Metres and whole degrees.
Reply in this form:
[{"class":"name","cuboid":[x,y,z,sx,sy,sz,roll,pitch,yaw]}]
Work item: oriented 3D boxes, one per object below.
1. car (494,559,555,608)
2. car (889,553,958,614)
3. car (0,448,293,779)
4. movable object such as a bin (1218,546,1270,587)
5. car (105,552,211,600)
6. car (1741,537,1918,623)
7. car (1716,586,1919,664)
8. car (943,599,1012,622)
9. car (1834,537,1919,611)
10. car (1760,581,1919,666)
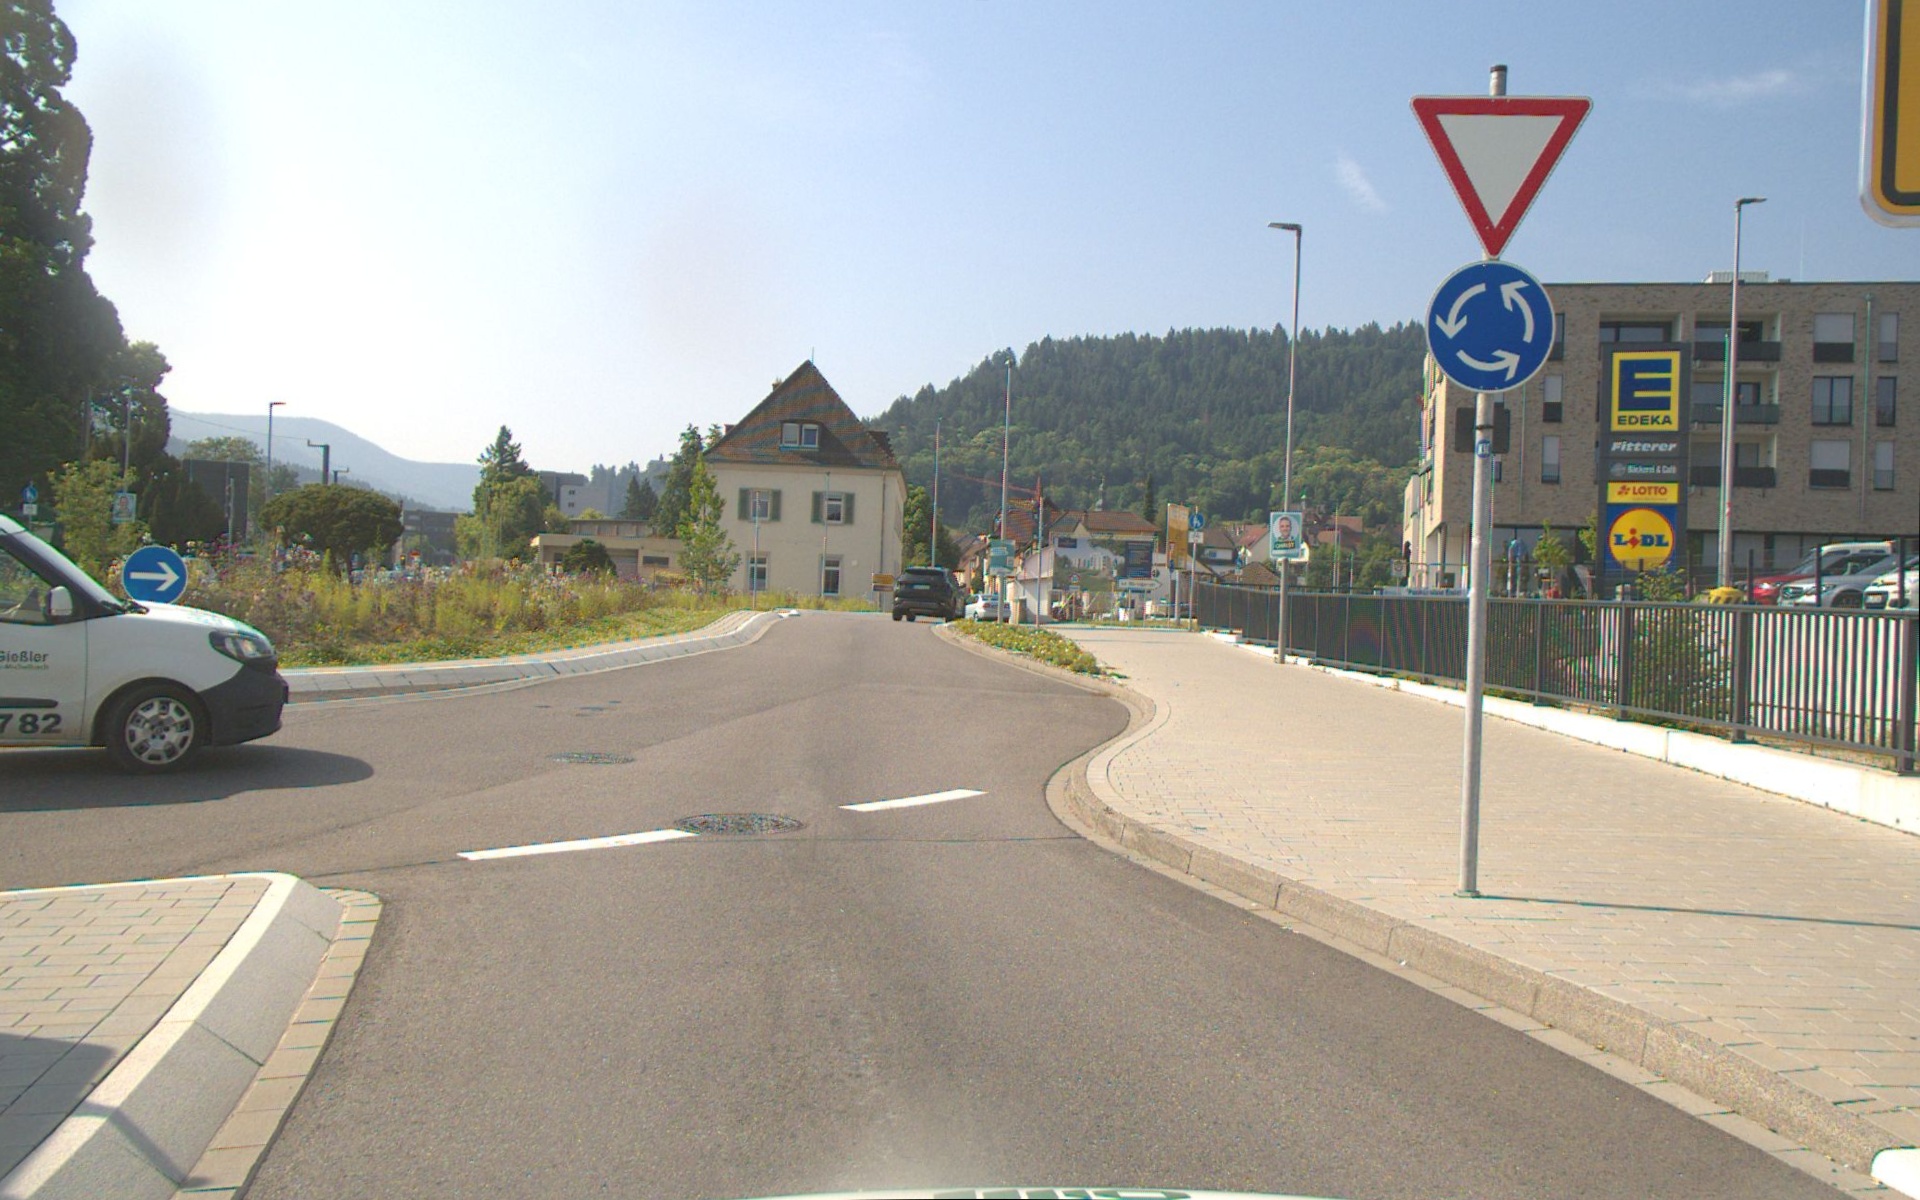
[{"class":"car","cuboid":[-18.955,-0.736,72.150,1.773,2.049,3.998,1,1,-3]},{"class":"car","cuboid":[-1.072,-0.469,50.320,1.842,1.713,4.001,1,-1,2]},{"class":"car","cuboid":[-6.999,0.023,11.117,4.533,2.113,1.797,1,3,-27]},{"class":"movable object such as a bin","cuboid":[13.685,-1.594,79.775,2.391,1.876,1.429,1,-1,8]},{"class":"car","cuboid":[-21.832,-0.645,45.147,1.360,1.192,3.242,2,0,-2]},{"class":"car","cuboid":[22.960,-0.530,43.831,3.905,2.173,2.000,1,-1,21]},{"class":"car","cuboid":[17.763,0.509,34.169,3.483,1.455,1.710,2,0,-1]},{"class":"car","cuboid":[0.820,0.484,77.588,3.224,0.981,1.340,1,-1,45]},{"class":"car","cuboid":[17.496,-0.401,28.923,3.483,1.220,1.714,2,0,-1]},{"class":"car","cuboid":[17.717,0.468,31.619,3.972,1.513,1.717,2,0,2]}]
